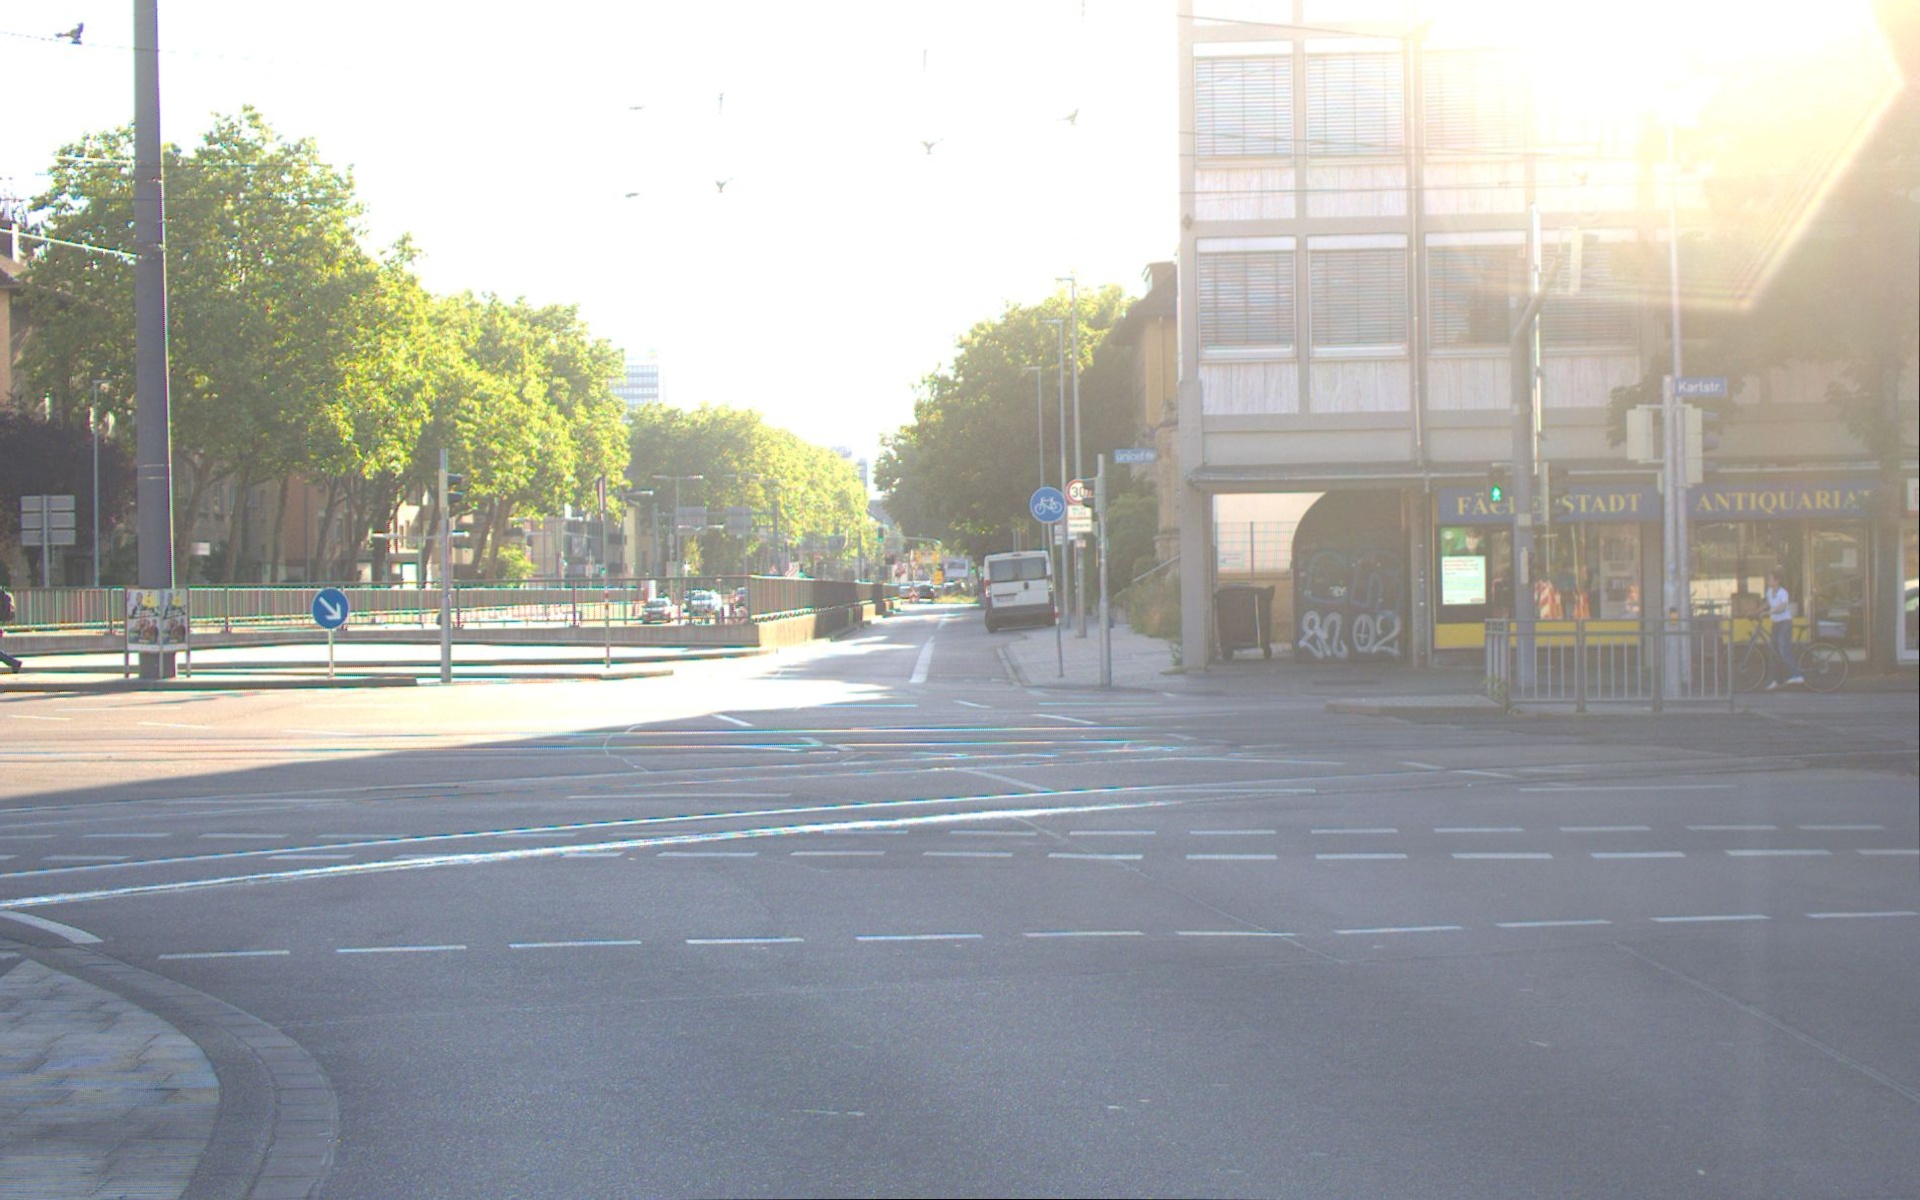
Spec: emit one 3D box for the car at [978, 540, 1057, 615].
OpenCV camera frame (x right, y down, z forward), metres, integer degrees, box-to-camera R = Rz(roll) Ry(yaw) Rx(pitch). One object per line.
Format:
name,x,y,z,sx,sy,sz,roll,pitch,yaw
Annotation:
car,1.755,-0.668,103.127,2.286,2.165,4.833,1,0,2

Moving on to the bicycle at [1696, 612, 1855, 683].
bicycle,11.244,0.654,47.435,2.024,0.937,0.671,1,0,-1

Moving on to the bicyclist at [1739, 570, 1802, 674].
bicyclist,11.180,0.299,47.433,0.679,1.419,0.671,1,0,-1

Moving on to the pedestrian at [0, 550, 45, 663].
pedestrian,-14.848,0.096,53.133,1.194,1.725,0.856,1,0,-5
